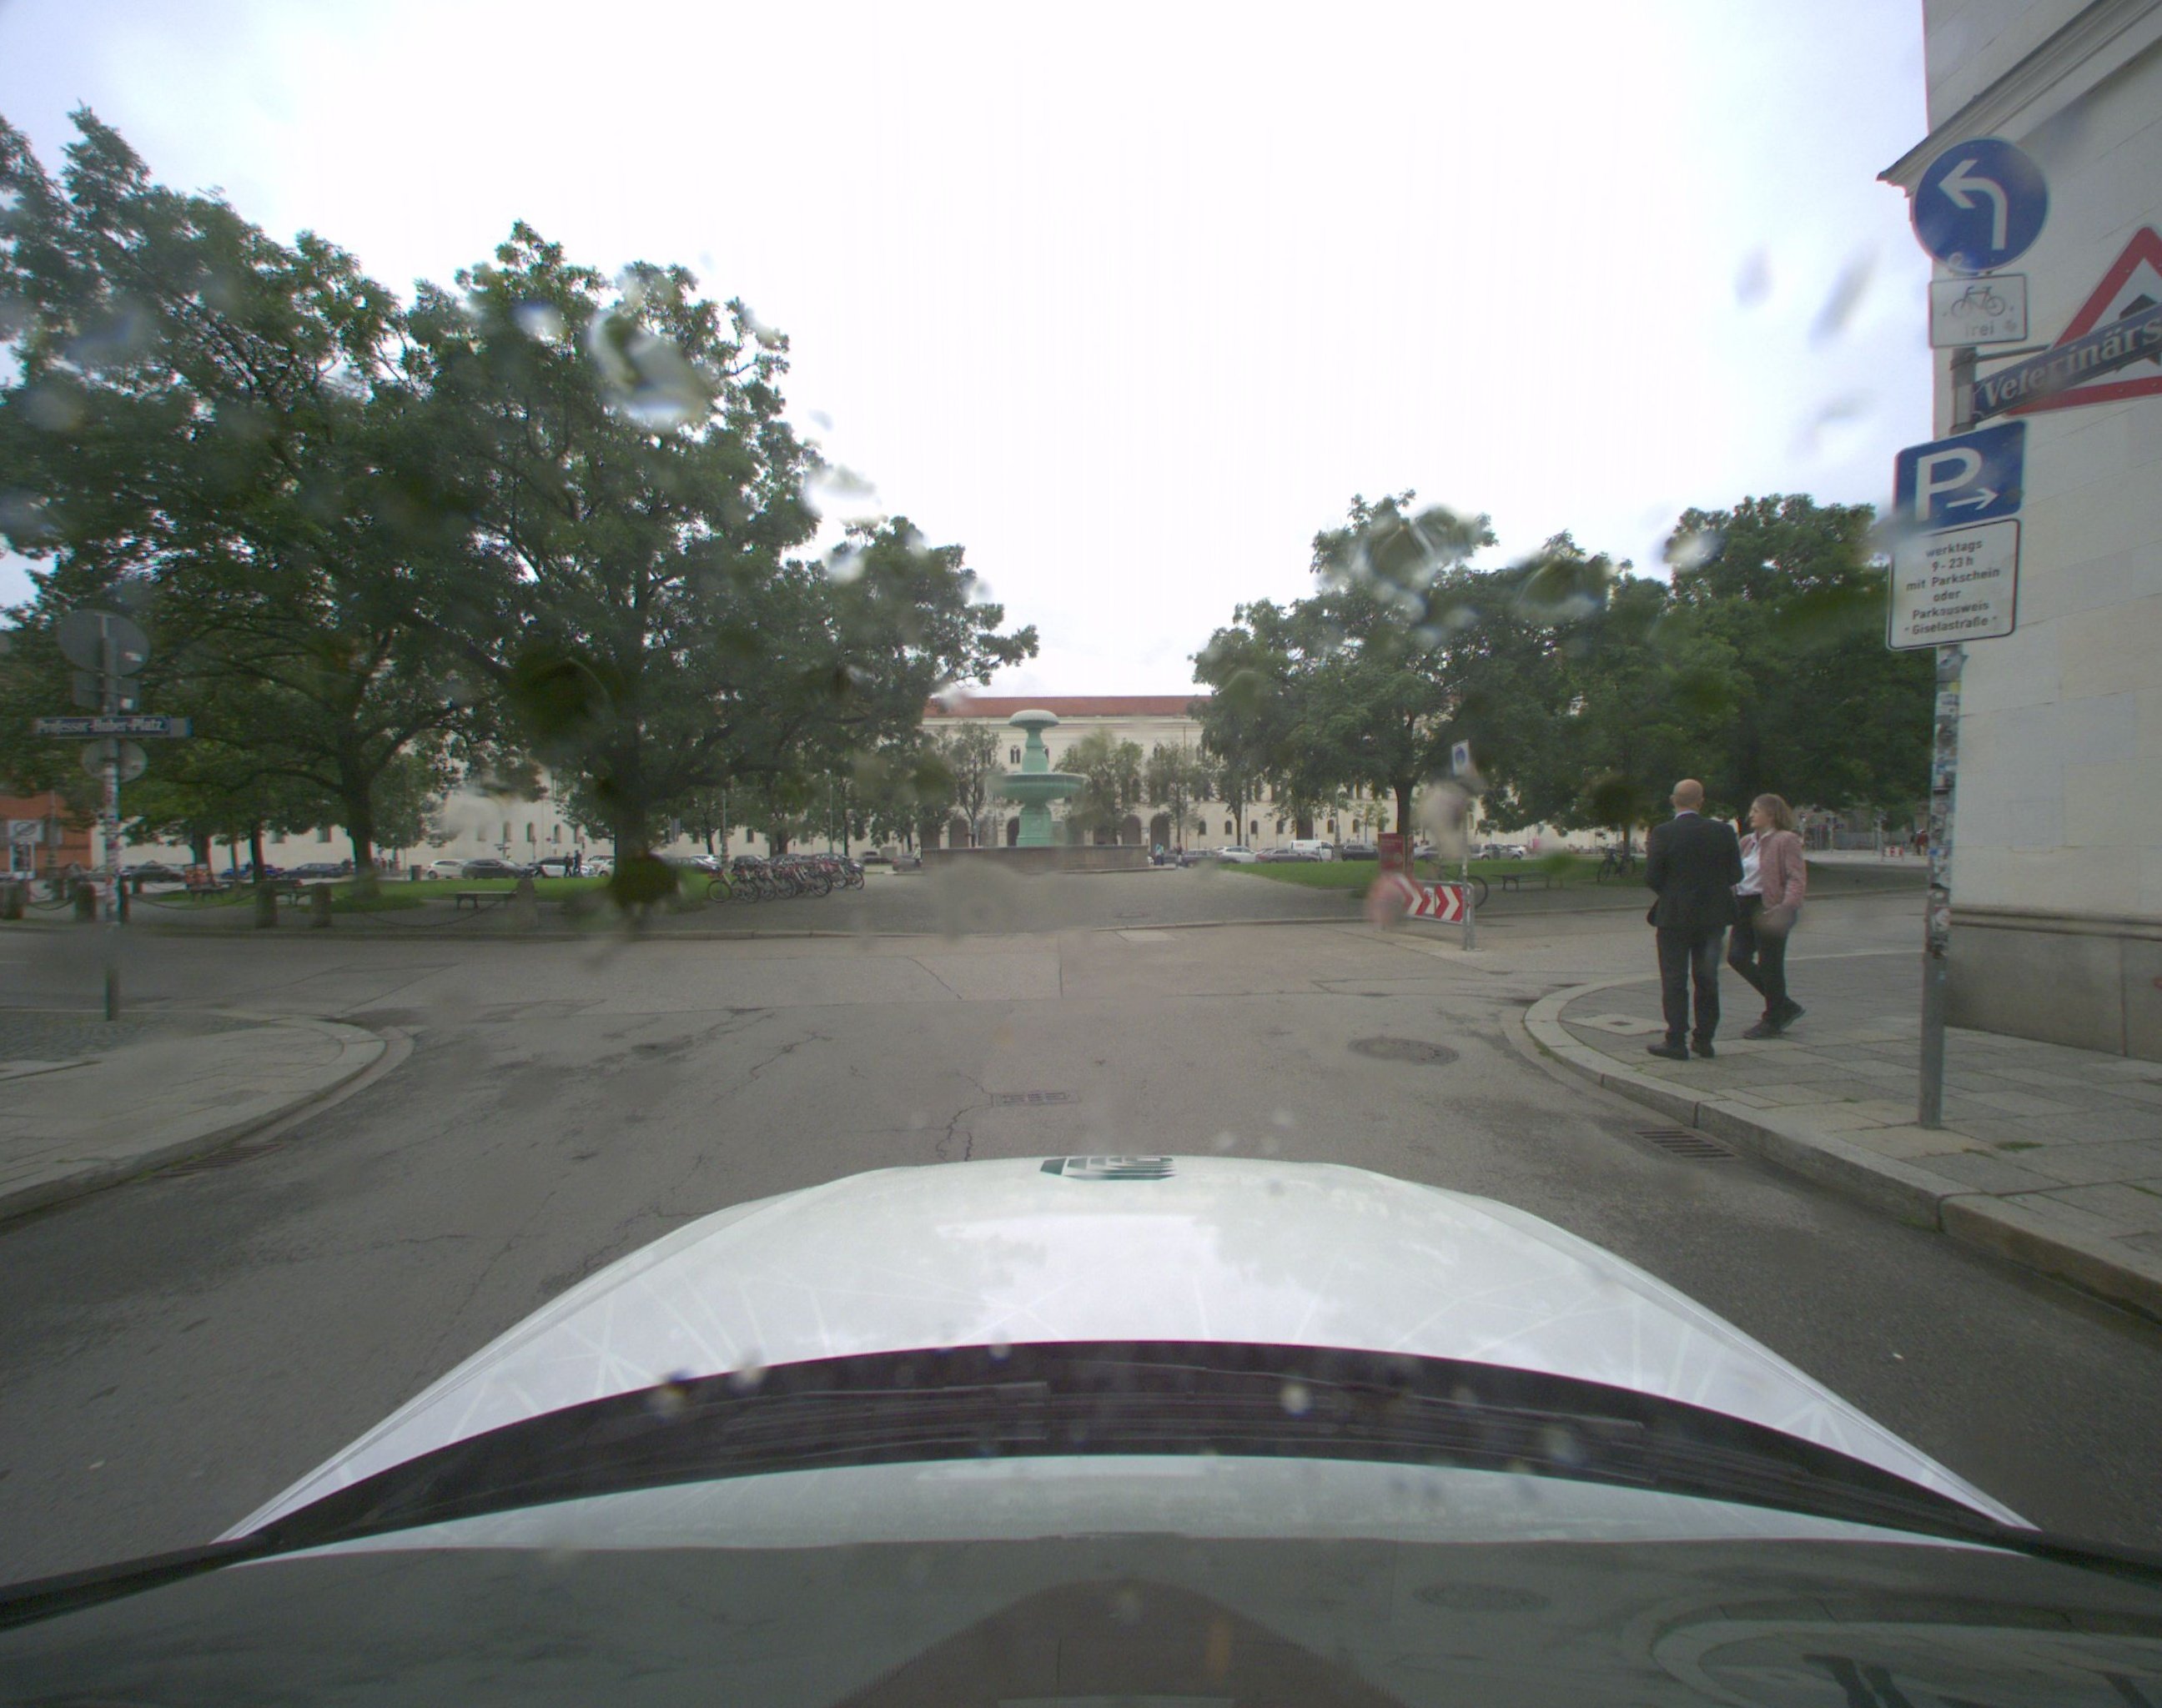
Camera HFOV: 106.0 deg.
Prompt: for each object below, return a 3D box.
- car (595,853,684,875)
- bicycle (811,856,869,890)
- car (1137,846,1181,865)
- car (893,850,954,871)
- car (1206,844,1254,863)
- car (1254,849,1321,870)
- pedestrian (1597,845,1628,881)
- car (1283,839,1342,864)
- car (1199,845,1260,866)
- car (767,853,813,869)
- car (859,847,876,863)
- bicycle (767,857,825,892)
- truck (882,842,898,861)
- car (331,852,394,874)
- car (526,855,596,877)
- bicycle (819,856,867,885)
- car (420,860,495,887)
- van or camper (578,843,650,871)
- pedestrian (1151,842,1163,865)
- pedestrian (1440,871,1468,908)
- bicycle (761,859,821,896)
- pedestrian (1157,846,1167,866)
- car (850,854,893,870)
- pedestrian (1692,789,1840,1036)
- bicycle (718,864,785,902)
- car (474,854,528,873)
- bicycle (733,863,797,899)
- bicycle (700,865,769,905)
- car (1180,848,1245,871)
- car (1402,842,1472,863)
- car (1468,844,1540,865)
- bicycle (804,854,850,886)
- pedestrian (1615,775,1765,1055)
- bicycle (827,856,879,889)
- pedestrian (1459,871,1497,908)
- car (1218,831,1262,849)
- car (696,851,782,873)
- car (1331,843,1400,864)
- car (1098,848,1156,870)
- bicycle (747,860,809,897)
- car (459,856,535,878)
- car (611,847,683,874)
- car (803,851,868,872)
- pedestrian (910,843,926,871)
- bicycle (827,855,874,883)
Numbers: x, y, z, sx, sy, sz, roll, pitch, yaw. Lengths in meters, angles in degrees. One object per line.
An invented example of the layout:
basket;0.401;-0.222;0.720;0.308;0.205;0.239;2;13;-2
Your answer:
car;-30.482;0.701;56.357;4.958;1.376;1.997;-1;1;-4
bicycle;-8.059;0.631;27.239;1.700;1.098;0.700;0;0;8
car;7.320;0.106;76.630;3.978;1.750;1.806;0;1;-4
car;-11.043;0.431;57.378;3.979;1.376;1.997;-1;1;-4
car;14.033;-0.063;76.861;4.092;1.741;1.743;0;1;-6
car;14.851;0.370;58.755;4.345;1.418;1.803;-1;1;-1
pedestrian;15.846;0.252;24.299;0.528;1.065;0.618;0;0;2
car;18.842;-0.188;66.401;4.311;2.013;1.824;0;1;1
car;11.449;0.118;62.926;4.345;1.524;1.803;-1;1;-1
car;-26.691;0.628;74.716;3.664;1.376;1.601;-1;1;-4
car;-28.471;0.135;108.509;2.136;2.013;4.169;0;1;-16
bicycle;-9.194;0.668;26.286;1.609;1.098;0.700;0;0;8
truck;-26.064;-0.403;111.218;1.996;2.488;3.982;0;1;-13
car;-67.980;0.801;77.090;3.979;2.013;1.997;0;1;-4
car;-35.640;0.828;55.884;3.664;1.376;1.601;-1;1;-4
bicycle;-8.692;0.590;29.754;1.526;1.019;0.700;0;0;8
car;-46.531;1.449;60.856;3.986;1.862;1.851;0;1;-9
van or camper;-38.308;0.242;66.892;4.573;2.013;1.996;-4;-1;-5
pedestrian;4.731;-0.031;50.944;0.577;1.465;0.551;-1;0;21
pedestrian;8.100;0.765;17.703;0.413;0.762;0.460;0;0;2
bicycle;-9.059;0.728;25.453;1.609;1.098;0.700;0;0;8
pedestrian;5.165;0.125;51.809;0.439;1.214;0.538;-1;0;24
car;-19.748;0.771;76.938;3.666;1.376;1.600;-1;1;-6
pedestrian;4.912;0.400;5.863;0.620;1.681;0.544;0;0;-9
bicycle;-9.366;0.807;23.184;1.609;1.035;0.700;0;0;8
car;-47.191;0.769;66.320;3.241;1.376;1.508;-1;1;-4
bicycle;-9.270;0.790;23.929;1.609;1.035;0.700;0;0;8
bicycle;-9.513;0.843;22.366;1.609;1.035;0.700;0;0;8
car;9.390;0.373;58.384;4.345;1.524;1.803;-1;1;-1
car;25.813;-0.137;59.119;4.345;1.418;1.803;-1;1;-1
car;30.948;0.006;59.604;4.345;1.418;1.803;-1;1;-1
bicycle;-8.999;0.562;28.879;1.393;1.098;0.658;0;0;8
pedestrian;4.105;0.394;5.524;0.639;1.808;0.489;-1;0;3
bicycle;-7.810;0.621;27.927;1.609;1.098;0.618;0;0;8
pedestrian;8.616;0.763;17.691;0.567;0.762;0.567;0;0;2
car;15.786;-1.404;80.885;3.980;1.783;1.929;0;1;-5
car;-23.823;0.540;56.885;5.063;1.376;1.997;-1;1;-4
car;20.470;-0.025;58.750;4.345;1.418;1.803;-1;1;-1
car;3.257;0.346;58.277;3.974;1.403;1.824;-2;0;-1
bicycle;-9.177;0.728;24.667;1.609;1.098;0.700;0;0;8
car;-39.723;0.868;55.484;3.898;1.376;1.601;-1;1;-4
car;-34.091;0.483;64.128;4.534;2.013;1.994;-1;1;-9
car;-17.094;0.498;56.870;3.979;1.376;1.997;-1;1;-4
pedestrian;-9.593;0.185;47.926;0.749;1.640;0.709;-1;0;-3
bicycle;-8.664;0.564;30.589;1.526;1.019;0.700;0;0;8
